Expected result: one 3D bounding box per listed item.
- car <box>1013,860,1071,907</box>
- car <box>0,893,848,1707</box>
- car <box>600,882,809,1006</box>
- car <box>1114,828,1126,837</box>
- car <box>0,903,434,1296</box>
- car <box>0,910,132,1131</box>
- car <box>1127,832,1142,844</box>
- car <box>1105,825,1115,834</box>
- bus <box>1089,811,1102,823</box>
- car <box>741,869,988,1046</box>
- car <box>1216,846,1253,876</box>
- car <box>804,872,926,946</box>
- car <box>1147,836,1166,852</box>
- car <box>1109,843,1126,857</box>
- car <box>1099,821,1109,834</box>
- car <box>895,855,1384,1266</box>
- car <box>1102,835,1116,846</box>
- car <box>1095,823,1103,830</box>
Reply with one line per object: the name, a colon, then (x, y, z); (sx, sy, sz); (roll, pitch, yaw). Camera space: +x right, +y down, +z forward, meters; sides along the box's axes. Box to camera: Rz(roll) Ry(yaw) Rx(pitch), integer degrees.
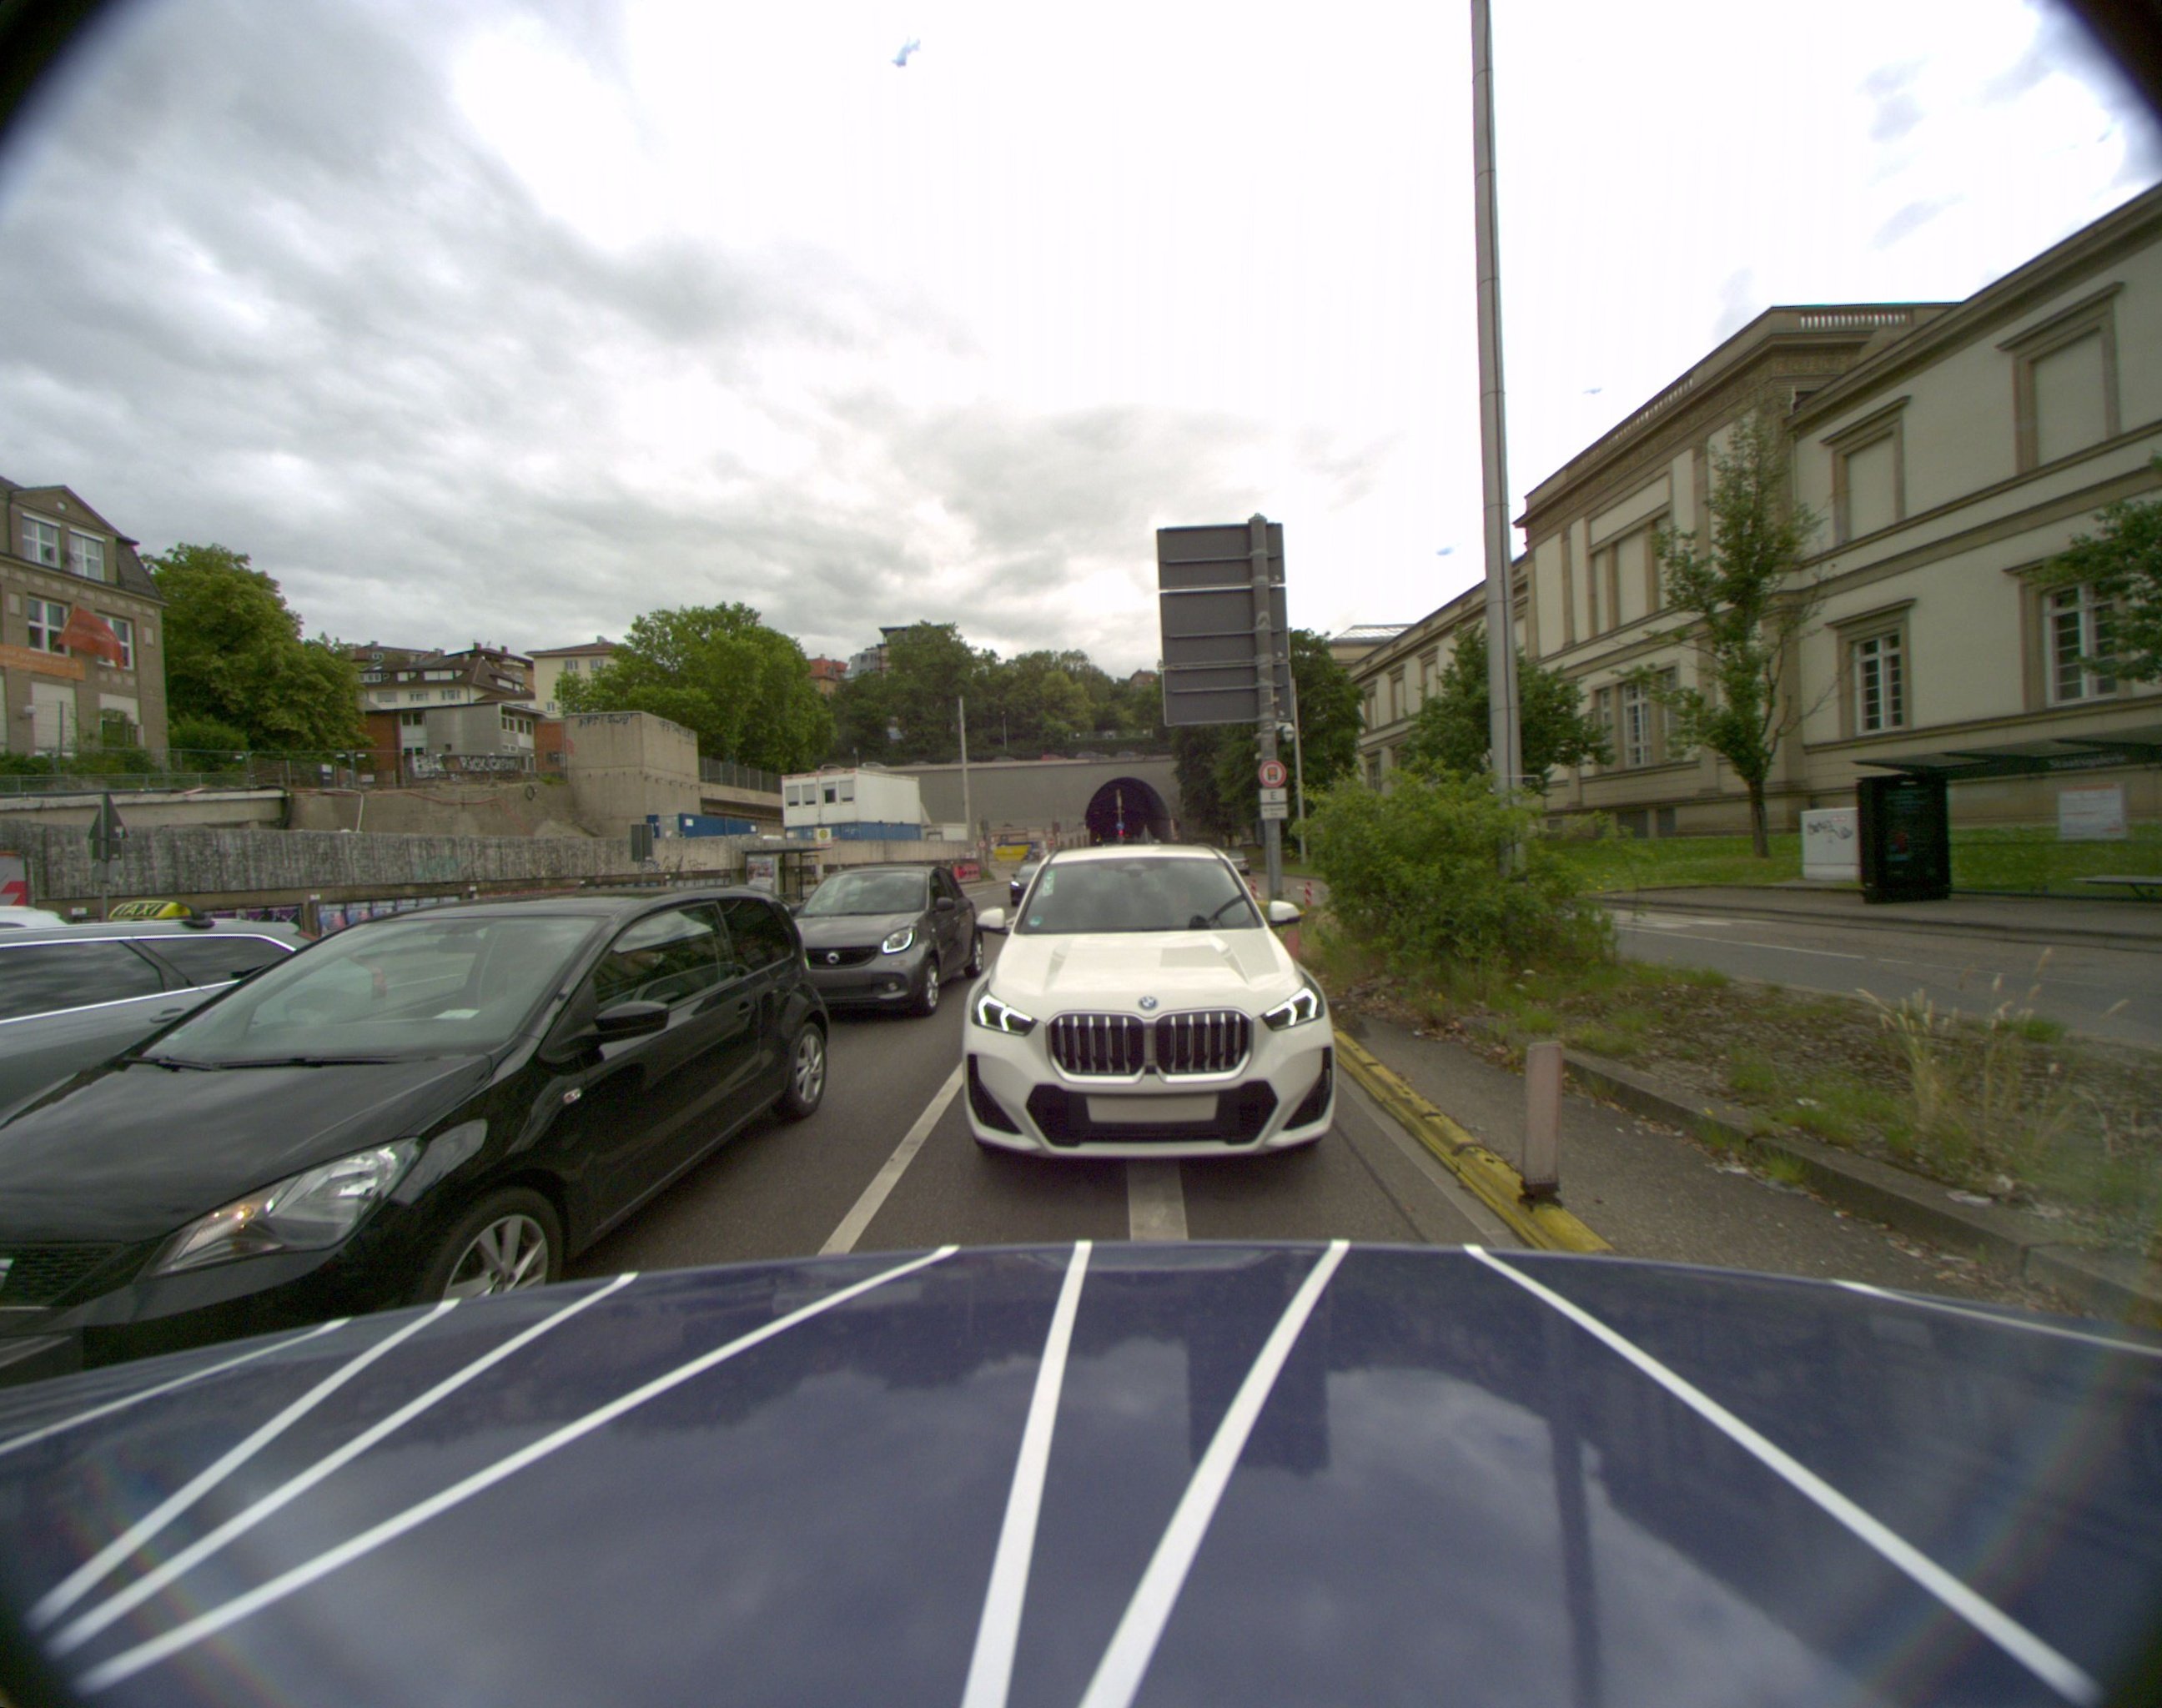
car: (-1.333, 1.019, 27.661); (1.680, 1.450, 3.807); (-2, 1, 3)
car: (-2.562, 1.043, 3.347); (1.829, 1.450, 3.700); (-2, 1, 1)
car: (-5.387, 1.224, 11.251); (1.665, 1.423, 2.714); (-2, 1, 1)
car: (6.512, -3.593, 126.899); (1.646, 1.469, 3.574); (-2, 0, -2)
car: (-5.847, 1.233, 3.307); (1.829, 1.615, 4.808); (-2, 1, 1)
car: (-9.097, 1.345, 4.449); (1.680, 1.615, 4.209); (-2, 1, 1)
car: (7.645, -2.277, 109.005); (1.903, 1.615, 4.107); (-2, 0, 0)
car: (5.528, -4.656, 144.687); (1.778, 1.609, 3.802); (-2, 1, -1)
bus: (4.170, -10.726, 221.774); (3.171, 3.129, 9.118); (-2, 1, -1)
car: (-2.244, 1.008, 8.896); (1.720, 1.535, 3.575); (-2, 0, 2)
car: (9.456, 0.400, 47.103); (1.835, 1.736, 4.001); (-2, 1, 6)
car: (-4.908, 1.198, 17.817); (1.680, 1.358, 3.806); (-2, 1, 1)
car: (8.435, -1.118, 84.532); (1.902, 1.615, 4.109); (-2, 0, 6)
car: (3.864, -0.411, 81.360); (1.680, 1.358, 3.806); (-2, 1, 1)
car: (5.030, -5.764, 165.951); (2.203, 2.493, 4.758); (-2, 1, 2)
car: (0.272, 0.874, 5.015); (1.987, 1.615, 3.670); (-2, 1, 1)
car: (3.582, -1.738, 98.669); (1.680, 1.358, 3.806); (-2, 1, 1)
car: (4.562, -6.919, 193.038); (1.946, 1.714, 4.001); (-2, 1, 4)
